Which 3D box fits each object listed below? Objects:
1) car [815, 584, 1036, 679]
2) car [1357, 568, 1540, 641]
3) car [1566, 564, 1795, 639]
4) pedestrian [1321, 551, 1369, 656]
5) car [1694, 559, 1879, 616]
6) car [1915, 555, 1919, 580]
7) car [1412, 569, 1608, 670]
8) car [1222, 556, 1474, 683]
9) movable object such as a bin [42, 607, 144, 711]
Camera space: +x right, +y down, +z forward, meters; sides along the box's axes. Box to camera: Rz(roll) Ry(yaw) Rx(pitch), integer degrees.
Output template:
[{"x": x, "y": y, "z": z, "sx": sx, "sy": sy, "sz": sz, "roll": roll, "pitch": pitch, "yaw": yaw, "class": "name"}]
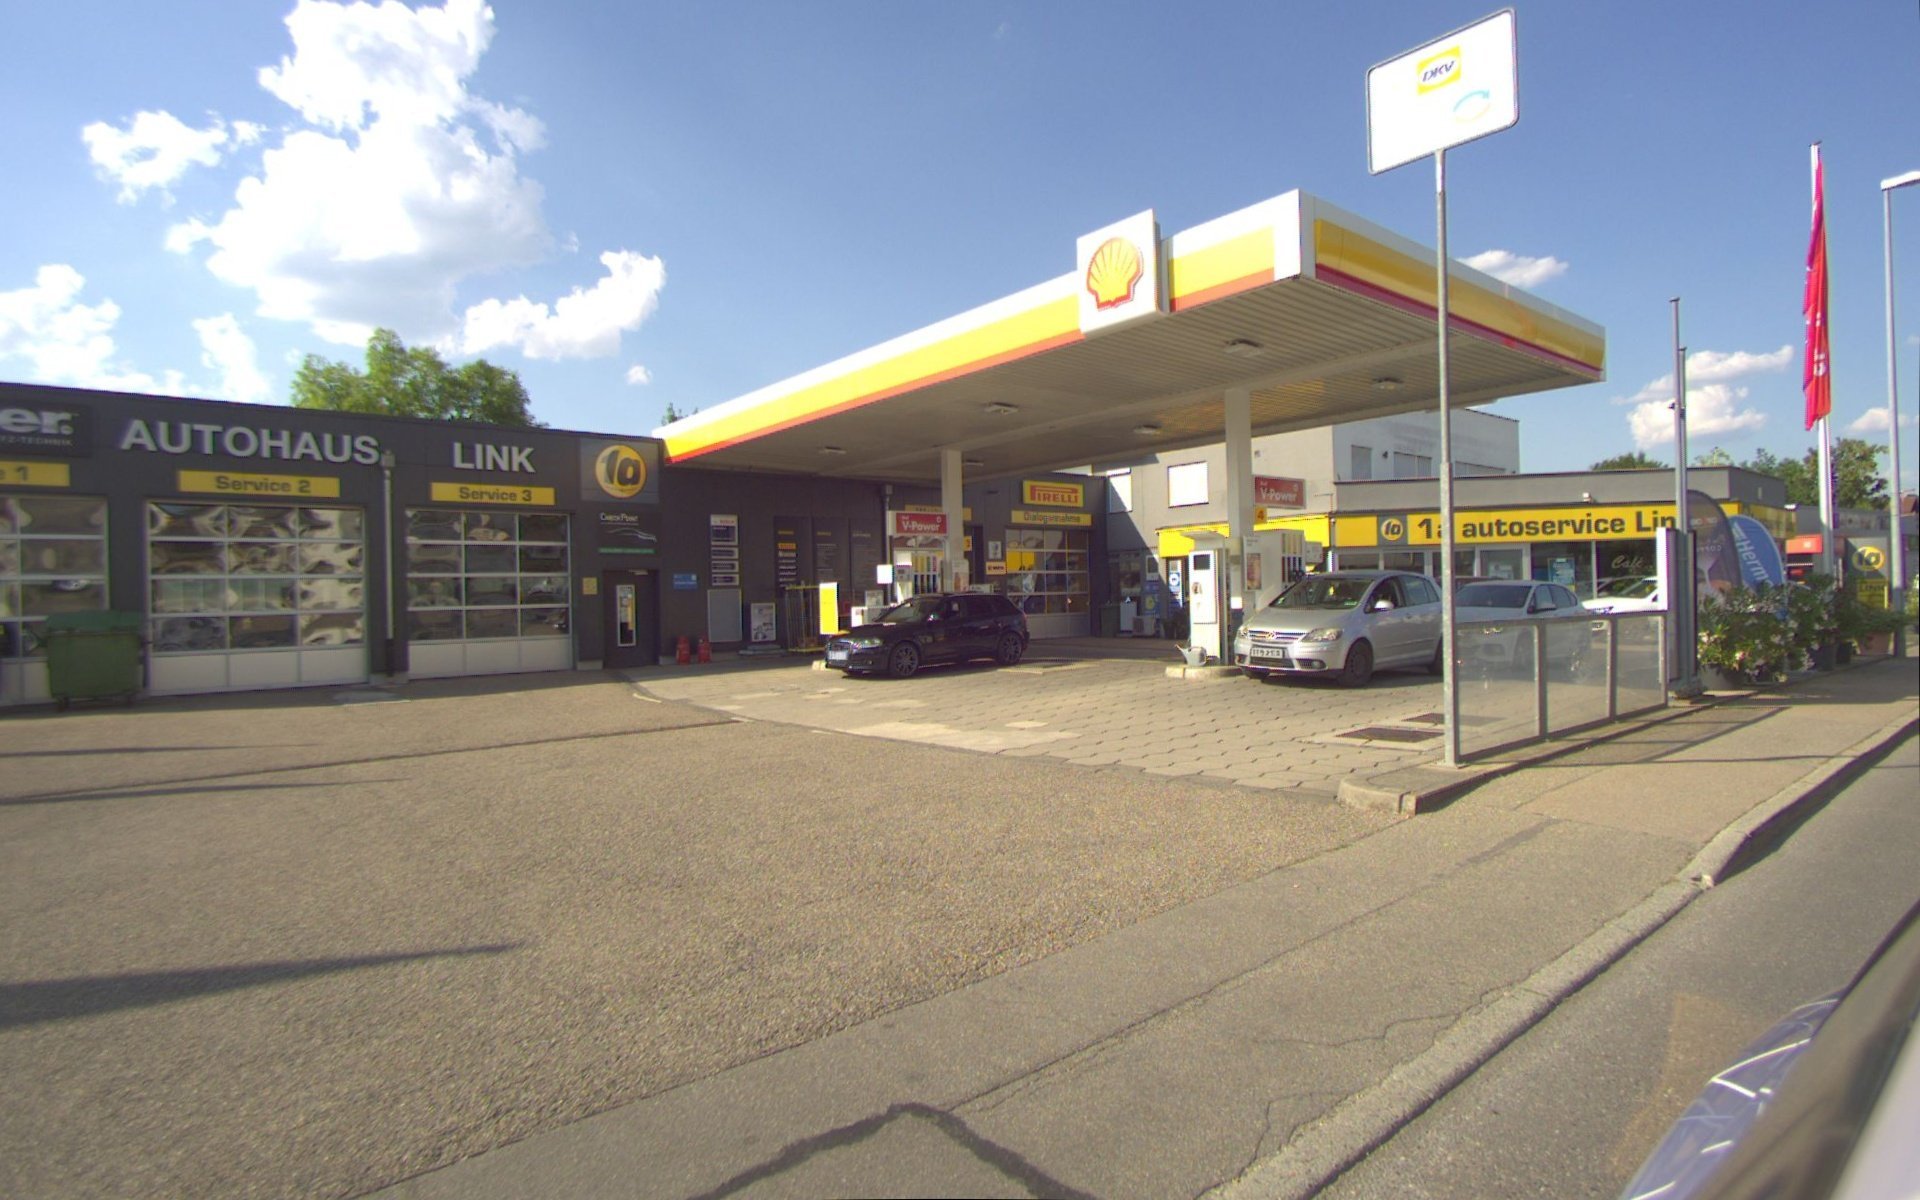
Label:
[{"x": -0.559, "y": 0.504, "z": 18.704, "sx": 3.928, "sy": 1.417, "sz": 1.540, "roll": -4, "pitch": 2, "yaw": -39, "class": "car"}, {"x": 11.793, "y": 0.090, "z": 24.630, "sx": 3.626, "sy": 1.653, "sz": 1.673, "roll": -1, "pitch": 1, "yaw": 10, "class": "car"}, {"x": 16.782, "y": 0.007, "z": 23.769, "sx": 4.011, "sy": 1.695, "sz": 1.673, "roll": 0, "pitch": 2, "yaw": 10, "class": "car"}, {"x": 6.326, "y": 0.053, "z": 16.631, "sx": 0.525, "sy": 1.691, "sz": 0.501, "roll": -2, "pitch": 0, "yaw": -39, "class": "pedestrian"}, {"x": 24.361, "y": -0.353, "z": 29.965, "sx": 1.499, "sy": 1.550, "sz": 3.997, "roll": -1, "pitch": 1, "yaw": -37, "class": "car"}, {"x": 63.364, "y": -2.130, "z": 64.093, "sx": 1.652, "sy": 1.623, "sz": 3.949, "roll": -3, "pitch": 2, "yaw": -37, "class": "car"}, {"x": 9.747, "y": 0.271, "z": 17.840, "sx": 3.927, "sy": 1.597, "sz": 1.675, "roll": -1, "pitch": 0, "yaw": -39, "class": "car"}, {"x": 5.688, "y": 0.212, "z": 14.653, "sx": 3.927, "sy": 1.597, "sz": 1.675, "roll": -1, "pitch": 0, "yaw": -39, "class": "car"}, {"x": -13.702, "y": 0.896, "z": 16.037, "sx": 1.188, "sy": 1.549, "sz": 0.989, "roll": -1, "pitch": 0, "yaw": -40, "class": "movable object such as a bin"}]
